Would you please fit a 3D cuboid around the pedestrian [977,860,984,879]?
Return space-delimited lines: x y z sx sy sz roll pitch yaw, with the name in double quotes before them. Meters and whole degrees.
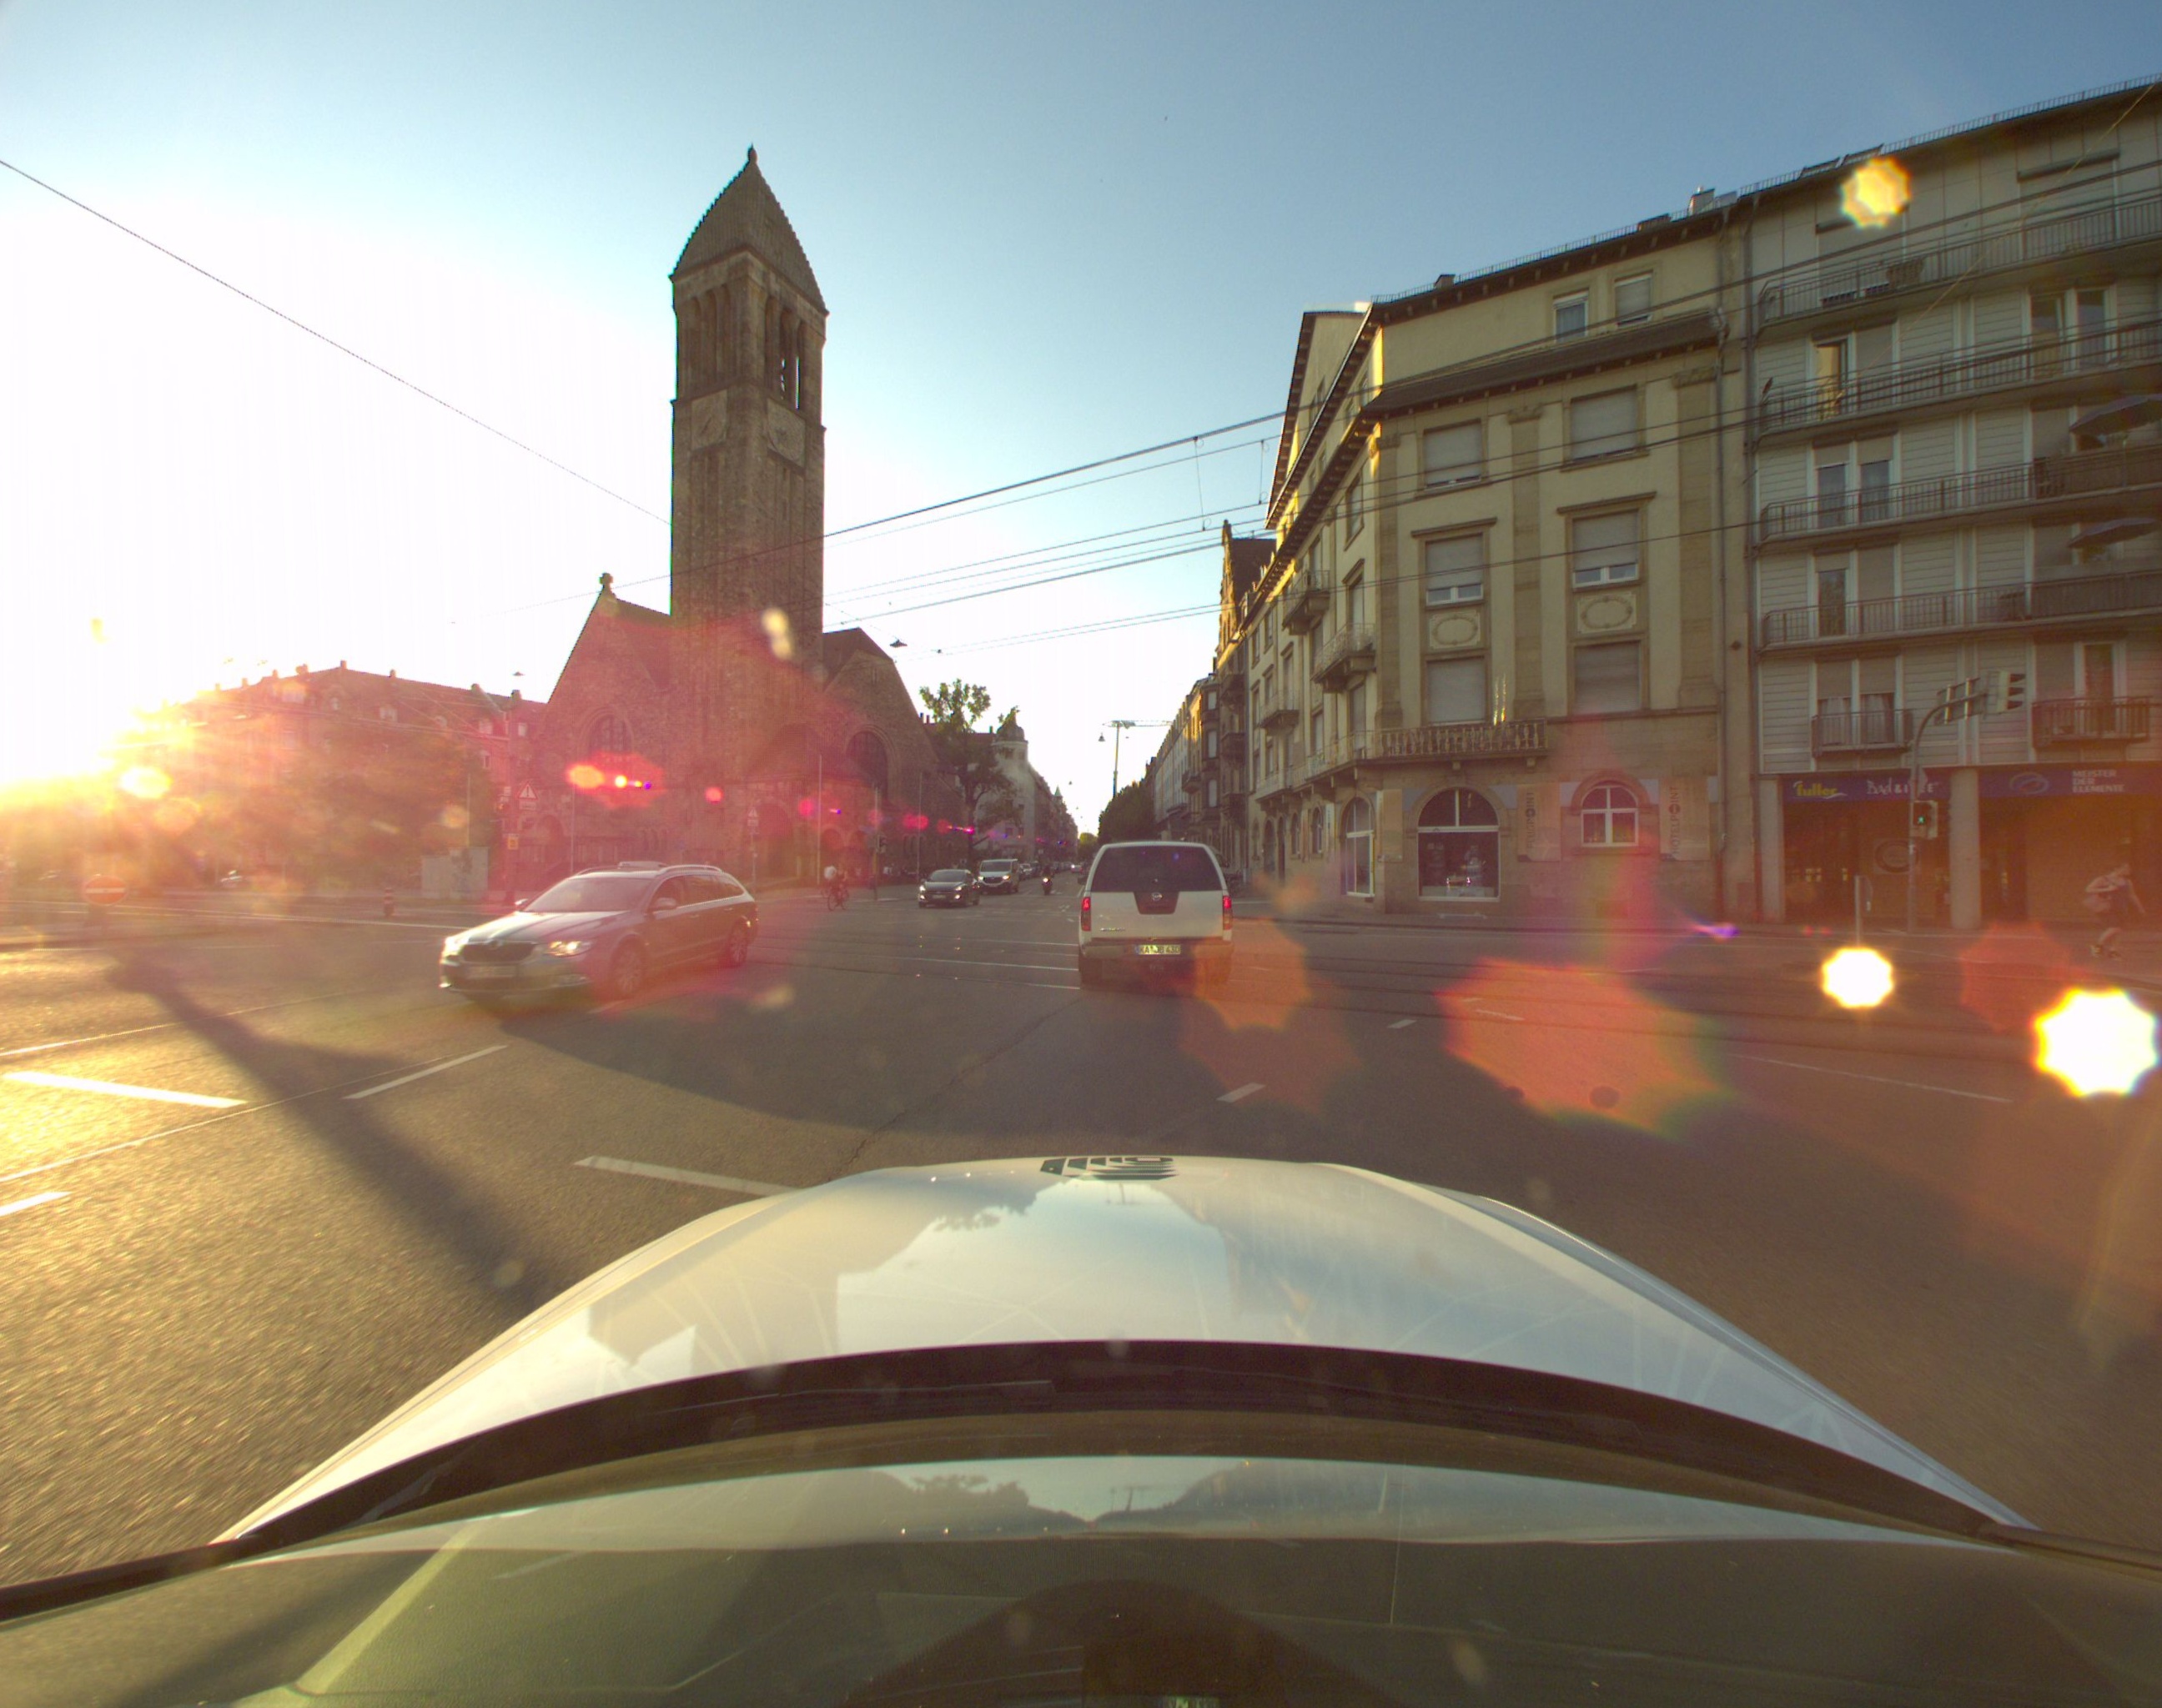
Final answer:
"pedestrian" -9.890 1.502 80.295 0.643 1.855 0.559 1 -1 -12

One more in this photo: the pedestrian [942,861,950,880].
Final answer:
"pedestrian" -11.961 1.452 72.062 0.642 1.695 0.561 1 -1 -6

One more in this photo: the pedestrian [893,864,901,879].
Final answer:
"pedestrian" -12.364 1.187 54.735 0.522 0.960 0.477 1 -1 -13

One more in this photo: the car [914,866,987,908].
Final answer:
"car" -4.952 1.219 31.481 1.986 1.477 4.141 -1 0 2

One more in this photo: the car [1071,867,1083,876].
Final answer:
"car" -0.691 2.882 135.976 1.853 1.529 3.998 1 -1 -1

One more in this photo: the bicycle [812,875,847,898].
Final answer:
"bicycle" -12.704 1.632 41.183 0.652 1.078 2.253 1 0 13

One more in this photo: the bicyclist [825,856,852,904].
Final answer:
"bicyclist" -8.451 0.898 28.402 0.597 1.645 0.963 1 -1 1

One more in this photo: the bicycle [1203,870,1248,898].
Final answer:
"bicycle" 6.360 1.324 35.948 1.811 1.150 0.636 -3 -1 0

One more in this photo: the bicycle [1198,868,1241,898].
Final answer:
"bicycle" 6.283 1.295 36.893 1.811 1.238 0.488 -3 -1 0

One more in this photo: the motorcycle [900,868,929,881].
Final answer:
"motorcycle" -13.778 1.693 67.525 2.239 0.988 0.707 1 -1 -3

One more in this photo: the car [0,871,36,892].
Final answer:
"car" -103.086 2.629 78.618 3.949 2.014 2.012 0 -1 29

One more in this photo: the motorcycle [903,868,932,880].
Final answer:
"motorcycle" -13.726 1.707 68.323 2.239 0.988 0.707 1 -1 -3

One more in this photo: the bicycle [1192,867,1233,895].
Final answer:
"bicycle" 6.356 1.313 39.468 1.849 1.238 0.531 -3 -1 0

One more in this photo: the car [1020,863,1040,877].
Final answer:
"car" -5.799 1.850 92.670 1.851 1.529 4.001 1 -1 2

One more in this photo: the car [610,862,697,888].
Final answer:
"car" -25.956 1.269 49.643 1.698 1.517 4.481 0 -1 27

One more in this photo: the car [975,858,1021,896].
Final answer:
"car" -4.662 1.296 46.546 1.986 2.014 4.951 -1 -1 1

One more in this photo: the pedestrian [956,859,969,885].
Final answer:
"pedestrian" -8.655 1.317 59.298 0.809 1.901 0.666 1 -1 0

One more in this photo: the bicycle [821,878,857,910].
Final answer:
"bicycle" -8.467 1.381 28.527 0.597 1.043 1.946 1 -1 2

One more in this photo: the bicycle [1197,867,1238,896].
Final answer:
"bicycle" 6.415 1.292 38.327 1.811 1.238 0.412 -3 -1 0

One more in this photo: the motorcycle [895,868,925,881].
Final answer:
"motorcycle" -13.921 1.670 66.301 2.239 0.988 0.707 1 -1 -3

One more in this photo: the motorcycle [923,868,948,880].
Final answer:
"motorcycle" -12.594 1.762 70.568 2.146 0.988 0.597 0 -1 22

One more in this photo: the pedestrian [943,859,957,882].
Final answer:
"pedestrian" -9.553 1.208 59.292 0.809 1.669 0.859 1 -1 0

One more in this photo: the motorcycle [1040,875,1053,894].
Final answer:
"motorcycle" -1.882 1.670 44.805 0.597 1.043 1.946 1 -1 2

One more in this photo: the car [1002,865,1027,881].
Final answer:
"car" -6.324 1.806 77.891 1.851 1.398 4.001 1 -1 2

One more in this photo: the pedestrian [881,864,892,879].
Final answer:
"pedestrian" -13.119 1.181 54.968 0.517 0.960 0.482 0 -1 20

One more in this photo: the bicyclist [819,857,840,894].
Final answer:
"bicyclist" -12.713 1.092 41.126 0.652 1.827 0.862 0 -1 13

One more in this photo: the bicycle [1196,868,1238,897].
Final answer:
"bicycle" 6.279 1.312 37.605 1.811 1.238 0.478 -3 -1 0

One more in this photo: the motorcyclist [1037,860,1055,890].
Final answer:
"motorcyclist" -1.938 1.155 45.004 0.871 1.645 0.963 1 -1 1

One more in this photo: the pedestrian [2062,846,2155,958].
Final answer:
"pedestrian" 16.798 0.761 13.331 0.779 1.779 0.546 0 -1 28

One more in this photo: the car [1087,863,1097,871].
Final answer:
"car" 2.052 2.374 150.621 1.851 1.529 4.001 1 -1 2

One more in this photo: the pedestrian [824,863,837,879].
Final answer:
"pedestrian" -15.269 1.059 49.616 0.517 0.960 0.482 0 -1 22

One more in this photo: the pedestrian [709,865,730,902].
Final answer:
"pedestrian" -16.965 1.389 38.221 0.629 1.698 0.605 0 -1 13

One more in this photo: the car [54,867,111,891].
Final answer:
"car" -88.672 2.207 72.341 3.952 2.014 2.010 0 -1 22

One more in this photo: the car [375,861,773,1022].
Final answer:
"car" -5.967 0.897 10.510 1.986 1.558 4.771 -1 -1 2

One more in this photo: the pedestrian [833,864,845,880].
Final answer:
"pedestrian" -14.663 1.062 49.315 0.517 0.960 0.482 0 -1 22

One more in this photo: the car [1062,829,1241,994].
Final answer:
"car" 0.889 0.678 11.131 1.985 1.809 4.002 1 -1 3

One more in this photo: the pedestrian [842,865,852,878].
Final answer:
"pedestrian" -17.161 1.306 59.654 0.550 0.960 0.708 1 -1 -4

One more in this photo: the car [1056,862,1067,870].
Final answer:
"car" -3.715 2.327 158.806 1.851 1.529 4.001 1 -1 2

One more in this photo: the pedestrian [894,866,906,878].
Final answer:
"pedestrian" -14.082 1.413 63.393 0.547 0.960 0.713 0 -1 23

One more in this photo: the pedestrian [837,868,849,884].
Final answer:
"pedestrian" -14.734 1.357 50.485 0.473 0.960 0.526 0 -2 32

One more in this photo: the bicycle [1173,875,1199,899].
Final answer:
"bicycle" 4.816 1.498 37.358 1.073 1.024 0.317 -3 -1 0

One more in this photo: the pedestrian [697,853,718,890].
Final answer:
"pedestrian" -17.632 0.815 38.421 0.628 1.698 0.605 0 -1 19

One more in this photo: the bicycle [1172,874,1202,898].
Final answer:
"bicycle" 5.021 1.509 38.610 1.328 1.024 0.317 -3 -1 0

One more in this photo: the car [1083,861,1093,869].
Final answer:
"car" 1.354 2.128 160.980 1.915 1.529 3.999 1 -1 0

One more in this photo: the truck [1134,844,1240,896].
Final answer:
"truck" 5.604 0.828 42.558 5.703 2.565 2.261 1 -1 -41

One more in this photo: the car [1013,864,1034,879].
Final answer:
"car" -6.046 1.803 86.088 1.851 1.529 4.001 1 -1 2

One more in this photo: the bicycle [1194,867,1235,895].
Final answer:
"bicycle" 6.373 1.302 38.935 1.811 1.238 0.410 -3 -1 0

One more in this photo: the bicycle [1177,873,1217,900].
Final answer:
"bicycle" 5.195 1.443 36.459 1.721 1.083 0.317 -3 -1 0

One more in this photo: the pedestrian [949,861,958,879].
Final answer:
"pedestrian" -11.630 1.455 74.354 0.640 1.695 0.562 1 -1 2

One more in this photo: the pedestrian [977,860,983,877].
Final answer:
"pedestrian" -10.097 1.430 81.145 0.559 1.695 0.643 1 -1 -5
